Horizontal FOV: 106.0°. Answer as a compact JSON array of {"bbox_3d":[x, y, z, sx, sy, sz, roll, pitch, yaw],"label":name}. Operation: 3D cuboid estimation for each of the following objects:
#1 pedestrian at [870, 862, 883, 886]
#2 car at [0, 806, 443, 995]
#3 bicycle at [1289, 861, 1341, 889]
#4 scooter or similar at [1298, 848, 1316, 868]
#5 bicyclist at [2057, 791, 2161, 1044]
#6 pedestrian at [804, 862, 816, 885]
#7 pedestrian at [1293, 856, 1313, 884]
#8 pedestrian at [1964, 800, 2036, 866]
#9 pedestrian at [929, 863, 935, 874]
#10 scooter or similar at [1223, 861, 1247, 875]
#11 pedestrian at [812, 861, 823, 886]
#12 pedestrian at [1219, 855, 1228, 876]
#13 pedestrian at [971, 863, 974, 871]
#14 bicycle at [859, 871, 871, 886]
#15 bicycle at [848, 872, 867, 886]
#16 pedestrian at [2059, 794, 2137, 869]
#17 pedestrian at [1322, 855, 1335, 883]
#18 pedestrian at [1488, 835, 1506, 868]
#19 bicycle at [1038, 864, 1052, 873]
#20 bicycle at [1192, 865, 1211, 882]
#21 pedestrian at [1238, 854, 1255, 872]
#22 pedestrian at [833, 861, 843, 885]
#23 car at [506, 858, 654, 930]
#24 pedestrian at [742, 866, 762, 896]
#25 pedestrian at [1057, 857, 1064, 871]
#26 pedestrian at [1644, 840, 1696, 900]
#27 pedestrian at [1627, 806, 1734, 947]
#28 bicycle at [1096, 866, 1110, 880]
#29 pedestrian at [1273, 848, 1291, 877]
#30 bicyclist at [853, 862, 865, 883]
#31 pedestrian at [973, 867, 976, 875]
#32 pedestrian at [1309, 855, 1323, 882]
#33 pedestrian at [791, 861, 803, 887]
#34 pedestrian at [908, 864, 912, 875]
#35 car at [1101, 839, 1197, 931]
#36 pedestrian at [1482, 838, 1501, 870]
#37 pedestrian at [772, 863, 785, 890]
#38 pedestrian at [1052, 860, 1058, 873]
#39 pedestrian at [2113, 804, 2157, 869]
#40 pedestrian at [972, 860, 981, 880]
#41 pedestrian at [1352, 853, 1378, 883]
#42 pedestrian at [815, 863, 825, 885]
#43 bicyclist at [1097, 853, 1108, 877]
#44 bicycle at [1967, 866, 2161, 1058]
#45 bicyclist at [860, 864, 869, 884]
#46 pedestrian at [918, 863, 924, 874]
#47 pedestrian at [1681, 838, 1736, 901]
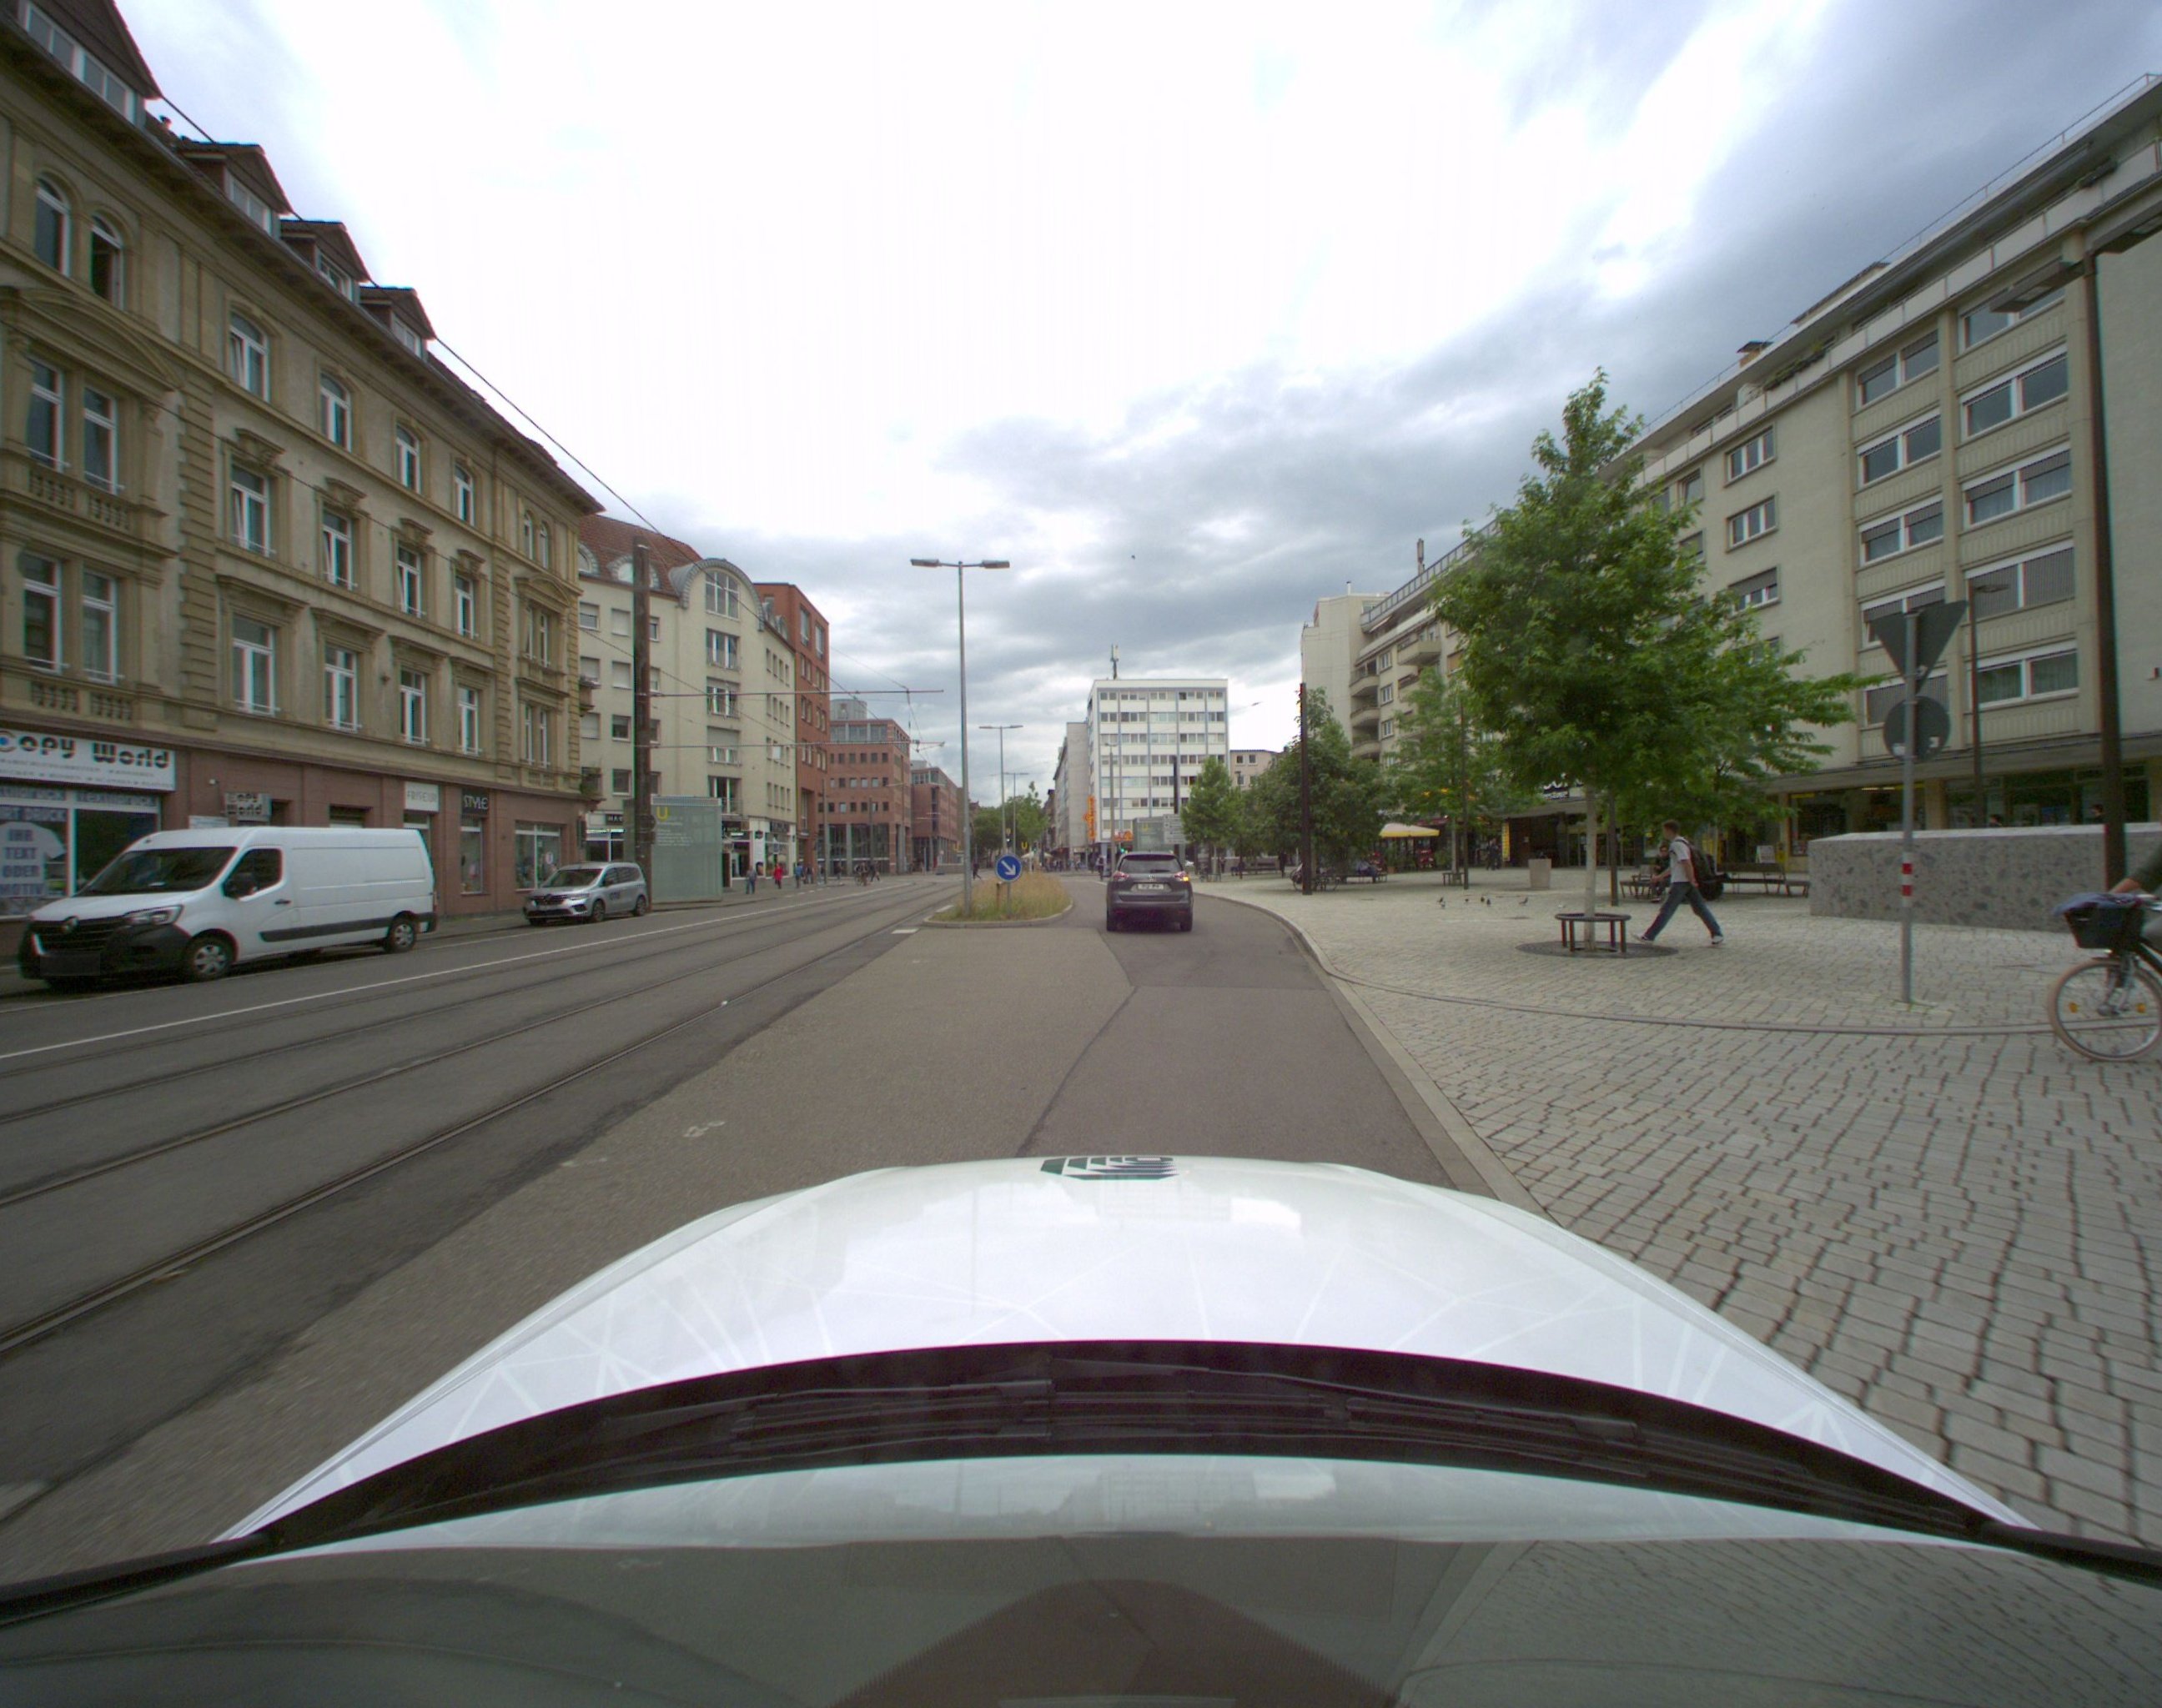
[{"bbox_3d":[-16.602,1.645,66.261,0.895,1.890,0.797,0,-2,-6],"label":"pedestrian"},{"bbox_3d":[-14.178,0.664,14.108,2.050,2.487,5.655,-3,0,-5],"label":"car"},{"bbox_3d":[9.386,0.837,32.726,1.904,1.123,0.646,0,-1,6],"label":"bicycle"},{"bbox_3d":[20.620,0.351,74.363,1.079,1.806,2.277,-2,-1,5],"label":"scooter or similar"},{"bbox_3d":[7.591,0.421,5.684,0.787,1.684,0.571,-1,-1,5],"label":"bicyclist"},{"bbox_3d":[-20.591,1.492,61.932,0.871,1.687,0.658,-1,-2,-19],"label":"pedestrian"},{"bbox_3d":[11.041,0.779,40.519,0.630,1.366,0.682,0,-1,-23],"label":"pedestrian"},{"bbox_3d":[25.730,-0.565,22.826,0.772,1.772,1.061,-2,0,-15],"label":"pedestrian"},{"bbox_3d":[-24.767,2.335,135.172,0.737,1.842,0.695,0,-1,-31],"label":"pedestrian"},{"bbox_3d":[11.776,1.053,62.322,1.571,0.948,0.729,-4,-1,34],"label":"scooter or similar"},{"bbox_3d":[-18.038,1.354,55.740,0.661,1.687,0.718,-1,-2,-16],"label":"pedestrian"},{"bbox_3d":[12.214,0.977,69.841,0.667,1.761,0.643,0,-1,11],"label":"pedestrian"},{"bbox_3d":[-22.567,2.742,169.423,0.600,1.714,0.653,0,-1,-11],"label":"pedestrian"},{"bbox_3d":[-15.324,1.753,57.674,0.478,1.021,1.908,-2,-1,-5],"label":"bicycle"},{"bbox_3d":[-17.035,1.896,61.917,1.888,1.021,0.480,-2,-1,44],"label":"bicycle"},{"bbox_3d":[26.703,-0.575,21.401,0.773,1.901,1.059,-2,0,-22],"label":"pedestrian"},{"bbox_3d":[12.518,0.760,41.213,0.539,1.366,1.285,0,-1,14],"label":"pedestrian"},{"bbox_3d":[23.804,-0.136,46.575,0.766,1.885,0.858,-1,-1,34],"label":"pedestrian"},{"bbox_3d":[-4.892,1.918,109.819,1.872,1.172,0.527,0,-1,-19],"label":"bicycle"},{"bbox_3d":[7.542,1.225,50.891,0.652,0.978,1.764,-2,-1,25],"label":"bicycle"},{"bbox_3d":[12.611,0.673,62.067,1.040,1.297,0.733,-3,-1,1],"label":"pedestrian"},{"bbox_3d":[-19.911,1.556,66.684,0.609,1.890,0.797,-1,-2,-6],"label":"pedestrian"},{"bbox_3d":[-14.905,1.118,24.568,1.900,1.864,4.511,-3,-1,-5],"label":"car"},{"bbox_3d":[-19.302,1.584,47.769,0.715,1.687,0.828,-2,-2,15],"label":"pedestrian"},{"bbox_3d":[-2.812,1.394,111.099,0.713,1.832,1.013,0,-1,-12],"label":"pedestrian"},{"bbox_3d":[14.739,0.403,20.383,0.783,1.455,0.760,-3,-1,-34],"label":"pedestrian"},{"bbox_3d":[8.531,0.308,11.619,0.868,1.901,0.771,-2,0,-5],"label":"pedestrian"},{"bbox_3d":[1.654,1.449,62.385,0.899,1.045,3.275,-1,-1,-1],"label":"bicycle"},{"bbox_3d":[12.914,0.573,52.414,0.712,1.802,1.076,-4,-1,-5],"label":"pedestrian"},{"bbox_3d":[-16.828,1.386,61.700,0.802,1.540,0.495,-3,-1,44],"label":"bicyclist"},{"bbox_3d":[-23.465,3.680,179.613,0.600,1.714,0.653,0,-1,-11],"label":"pedestrian"},{"bbox_3d":[11.797,0.723,40.932,0.623,1.366,0.922,0,-1,13],"label":"pedestrian"},{"bbox_3d":[-18.533,1.314,53.193,0.661,1.687,0.719,-1,-2,-13],"label":"pedestrian"},{"bbox_3d":[-23.817,2.104,113.388,0.450,1.532,0.518,0,-1,-22],"label":"pedestrian"},{"bbox_3d":[1.446,0.703,18.655,1.856,1.775,4.568,-2,-2,2],"label":"car"},{"bbox_3d":[22.996,0.007,45.599,0.766,1.751,0.722,-4,-1,34],"label":"pedestrian"},{"bbox_3d":[-19.277,1.426,51.914,0.721,1.687,0.659,-1,-2,-15],"label":"pedestrian"},{"bbox_3d":[-3.485,1.620,109.520,0.732,1.746,0.660,0,-1,-12],"label":"pedestrian"},{"bbox_3d":[26.125,-0.435,20.179,0.594,1.586,0.636,-2,0,-37],"label":"pedestrian"},{"bbox_3d":[-8.860,1.335,68.754,0.743,1.684,0.797,1,-2,-8],"label":"pedestrian"},{"bbox_3d":[13.125,0.647,37.679,0.627,1.366,1.407,0,-1,-5],"label":"pedestrian"},{"bbox_3d":[-20.279,1.587,63.340,0.569,1.684,0.797,1,-2,-8],"label":"pedestrian"},{"bbox_3d":[1.653,0.859,62.489,0.832,1.812,0.877,0,-1,-2],"label":"bicyclist"},{"bbox_3d":[7.508,0.724,5.685,1.926,1.260,0.525,-1,-1,4],"label":"bicycle"},{"bbox_3d":[-15.332,1.400,57.677,0.478,1.407,0.810,-2,-1,-5],"label":"bicyclist"},{"bbox_3d":[-26.539,2.341,135.040,0.736,1.842,0.696,0,-1,-29],"label":"pedestrian"},{"bbox_3d":[15.088,0.369,19.599,0.783,1.455,0.760,-3,-1,-34],"label":"pedestrian"}]
